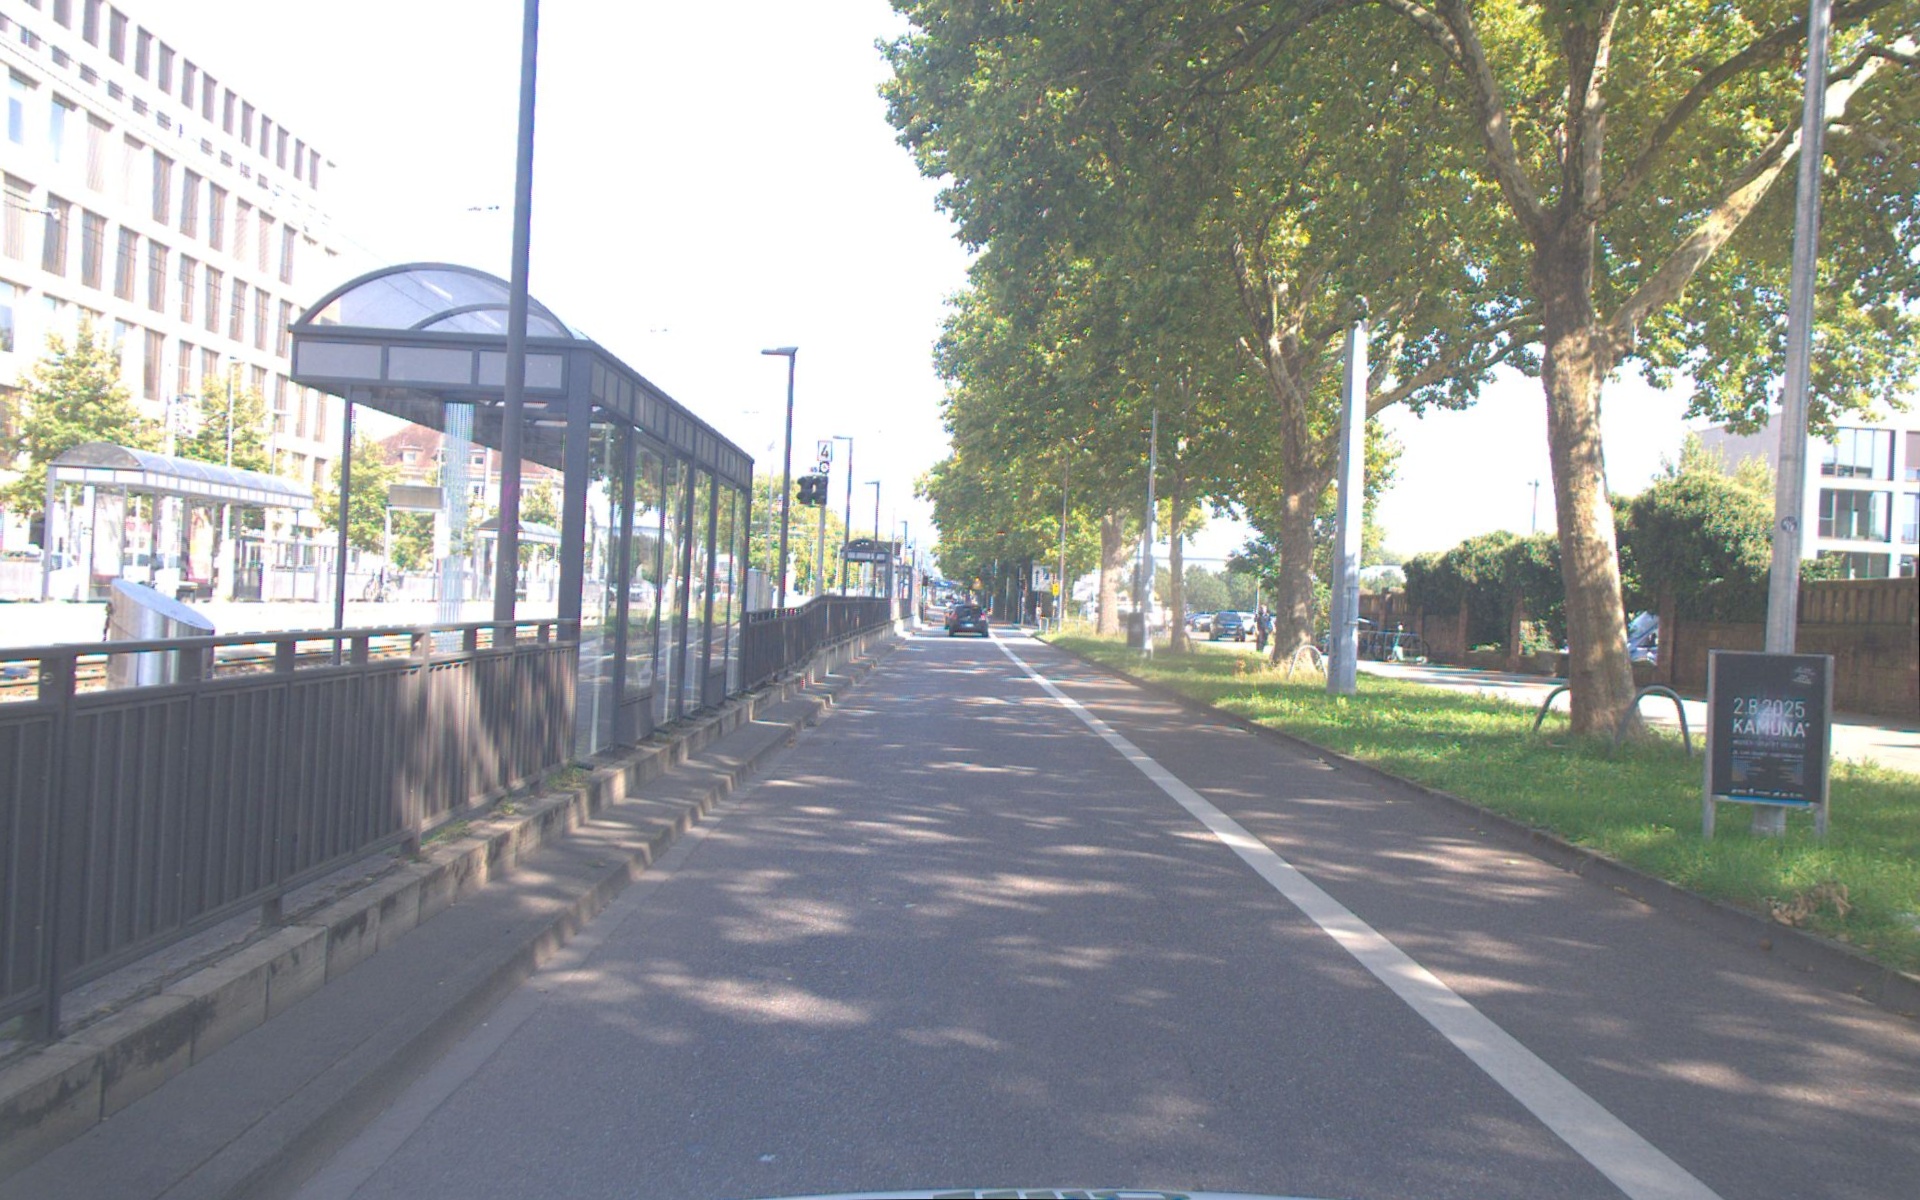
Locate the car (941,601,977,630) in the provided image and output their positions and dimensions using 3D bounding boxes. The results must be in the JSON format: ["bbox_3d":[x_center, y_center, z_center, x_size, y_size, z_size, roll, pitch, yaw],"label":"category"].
[{"bbox_3d":[-0.072,0.847,92.643,1.933,1.564,3.999,-1,0,-1],"label":"car"}]

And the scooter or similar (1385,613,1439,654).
[{"bbox_3d":[13.649,1.010,49.981,1.474,1.212,0.539,1,-1,3],"label":"scooter or similar"}]

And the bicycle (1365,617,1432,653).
[{"bbox_3d":[13.503,1.082,50.975,1.829,1.024,0.734,2,0,-2],"label":"bicycle"}]

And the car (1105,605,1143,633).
[{"bbox_3d":[9.233,1.060,93.384,1.692,1.474,4.550,1,0,0],"label":"car"}]

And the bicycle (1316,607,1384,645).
[{"bbox_3d":[13.854,0.925,58.815,2.198,1.299,0.998,0,-1,-1],"label":"bicycle"}]

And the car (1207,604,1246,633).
[{"bbox_3d":[15.206,1.044,94.649,1.575,1.603,3.796,1,0,0],"label":"car"}]

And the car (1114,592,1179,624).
[{"bbox_3d":[12.005,0.502,106.754,4.018,1.952,1.848,1,0,2],"label":"car"}]

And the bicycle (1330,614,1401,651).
[{"bbox_3d":[13.306,1.068,54.283,2.130,1.095,0.743,2,0,-2],"label":"bicycle"}]

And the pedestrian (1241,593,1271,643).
[{"bbox_3d":[9.406,0.570,52.531,0.768,1.541,0.787,2,0,-1],"label":"pedestrian"}]

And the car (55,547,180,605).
[{"bbox_3d":[-25.392,-0.696,49.993,1.728,1.631,4.131,1,0,-2],"label":"car"}]

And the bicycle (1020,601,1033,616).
[{"bbox_3d":[4.907,0.609,122.164,0.598,1.039,2.400,2,0,-4],"label":"bicycle"}]

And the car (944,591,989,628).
[{"bbox_3d":[0.273,0.401,73.329,1.868,1.564,3.999,1,0,-1],"label":"car"}]

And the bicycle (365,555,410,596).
[{"bbox_3d":[-16.938,-0.719,48.960,0.461,1.167,1.485,3,0,14],"label":"bicycle"}]

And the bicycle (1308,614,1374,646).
[{"bbox_3d":[13.185,1.041,57.308,2.128,1.095,0.743,0,0,3],"label":"bicycle"}]

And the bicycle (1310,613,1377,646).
[{"bbox_3d":[13.099,1.012,56.491,2.128,1.095,0.743,0,0,3],"label":"bicycle"}]
